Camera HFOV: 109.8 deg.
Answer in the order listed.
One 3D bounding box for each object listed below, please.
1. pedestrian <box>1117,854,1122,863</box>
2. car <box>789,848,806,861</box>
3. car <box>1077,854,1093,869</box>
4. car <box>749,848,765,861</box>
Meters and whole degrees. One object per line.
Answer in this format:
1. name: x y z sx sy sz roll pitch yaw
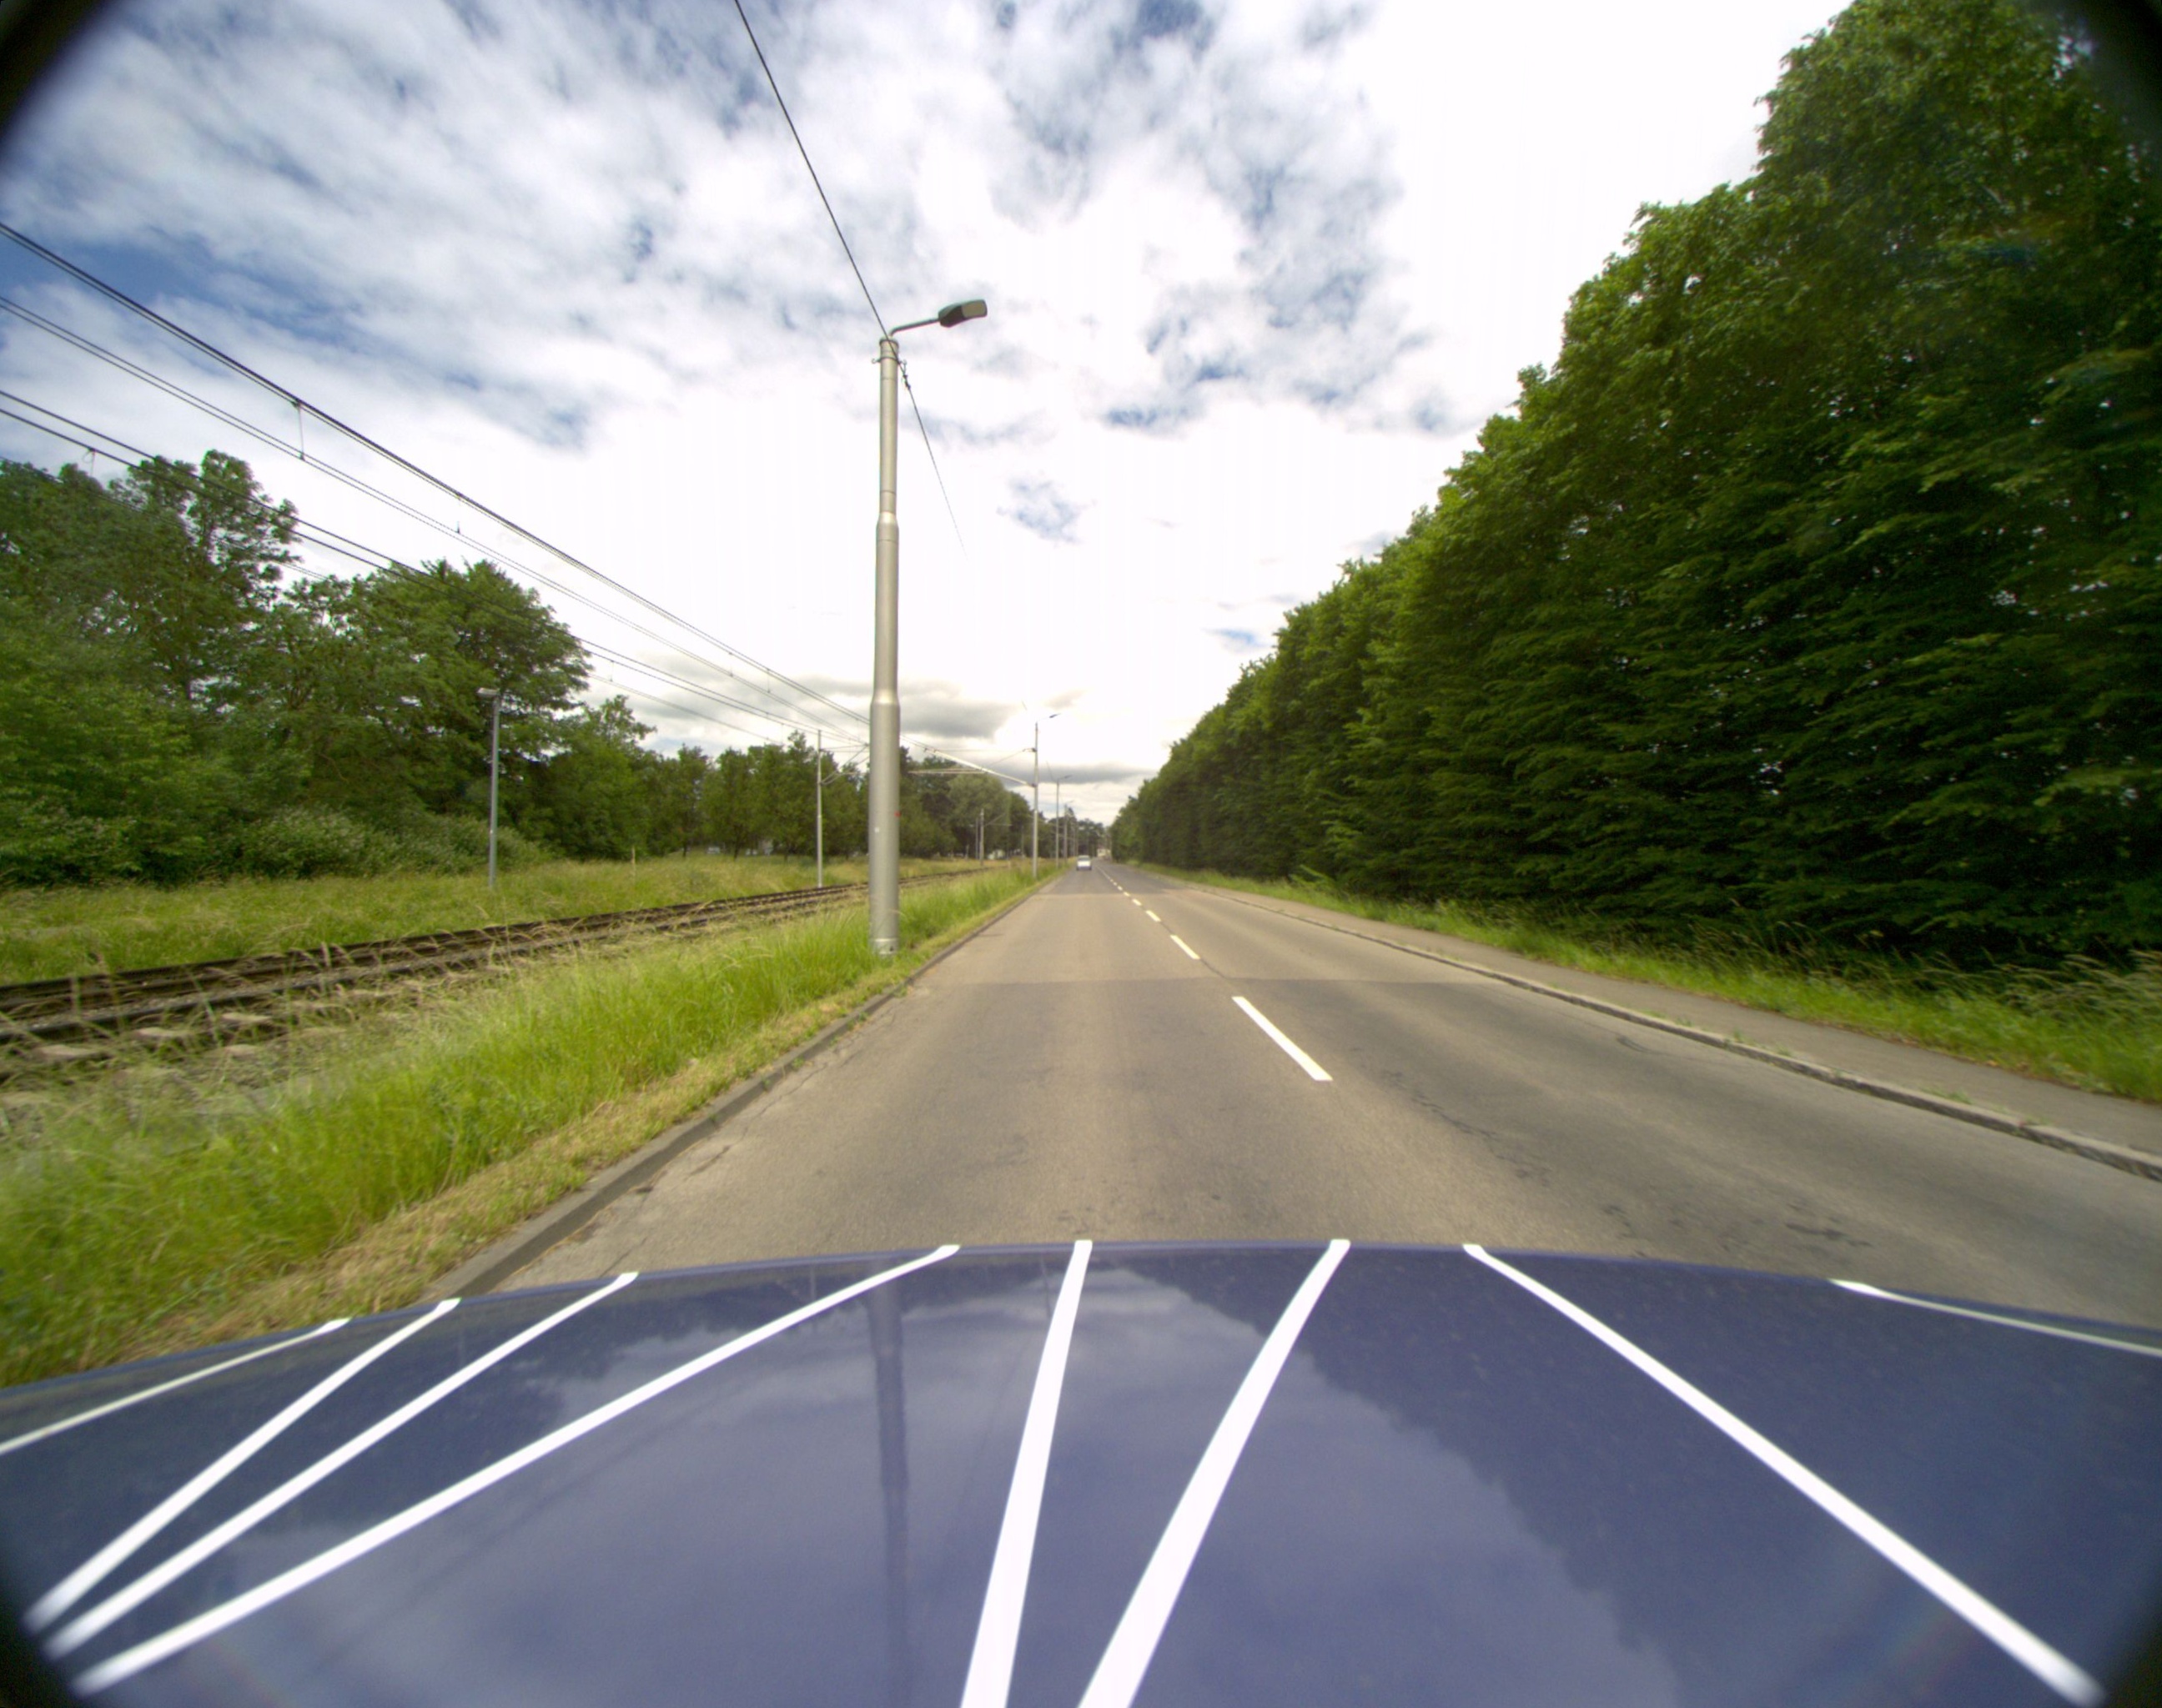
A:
1. pedestrian: 7.830 0.934 156.103 0.870 1.759 0.789 1 0 -7
2. car: -40.312 0.119 108.058 1.750 1.793 3.996 0 0 -12
3. car: 0.417 0.830 86.018 1.734 1.638 4.227 0 -1 -1
4. car: -45.779 0.009 107.226 2.003 1.801 3.992 0 0 -24
